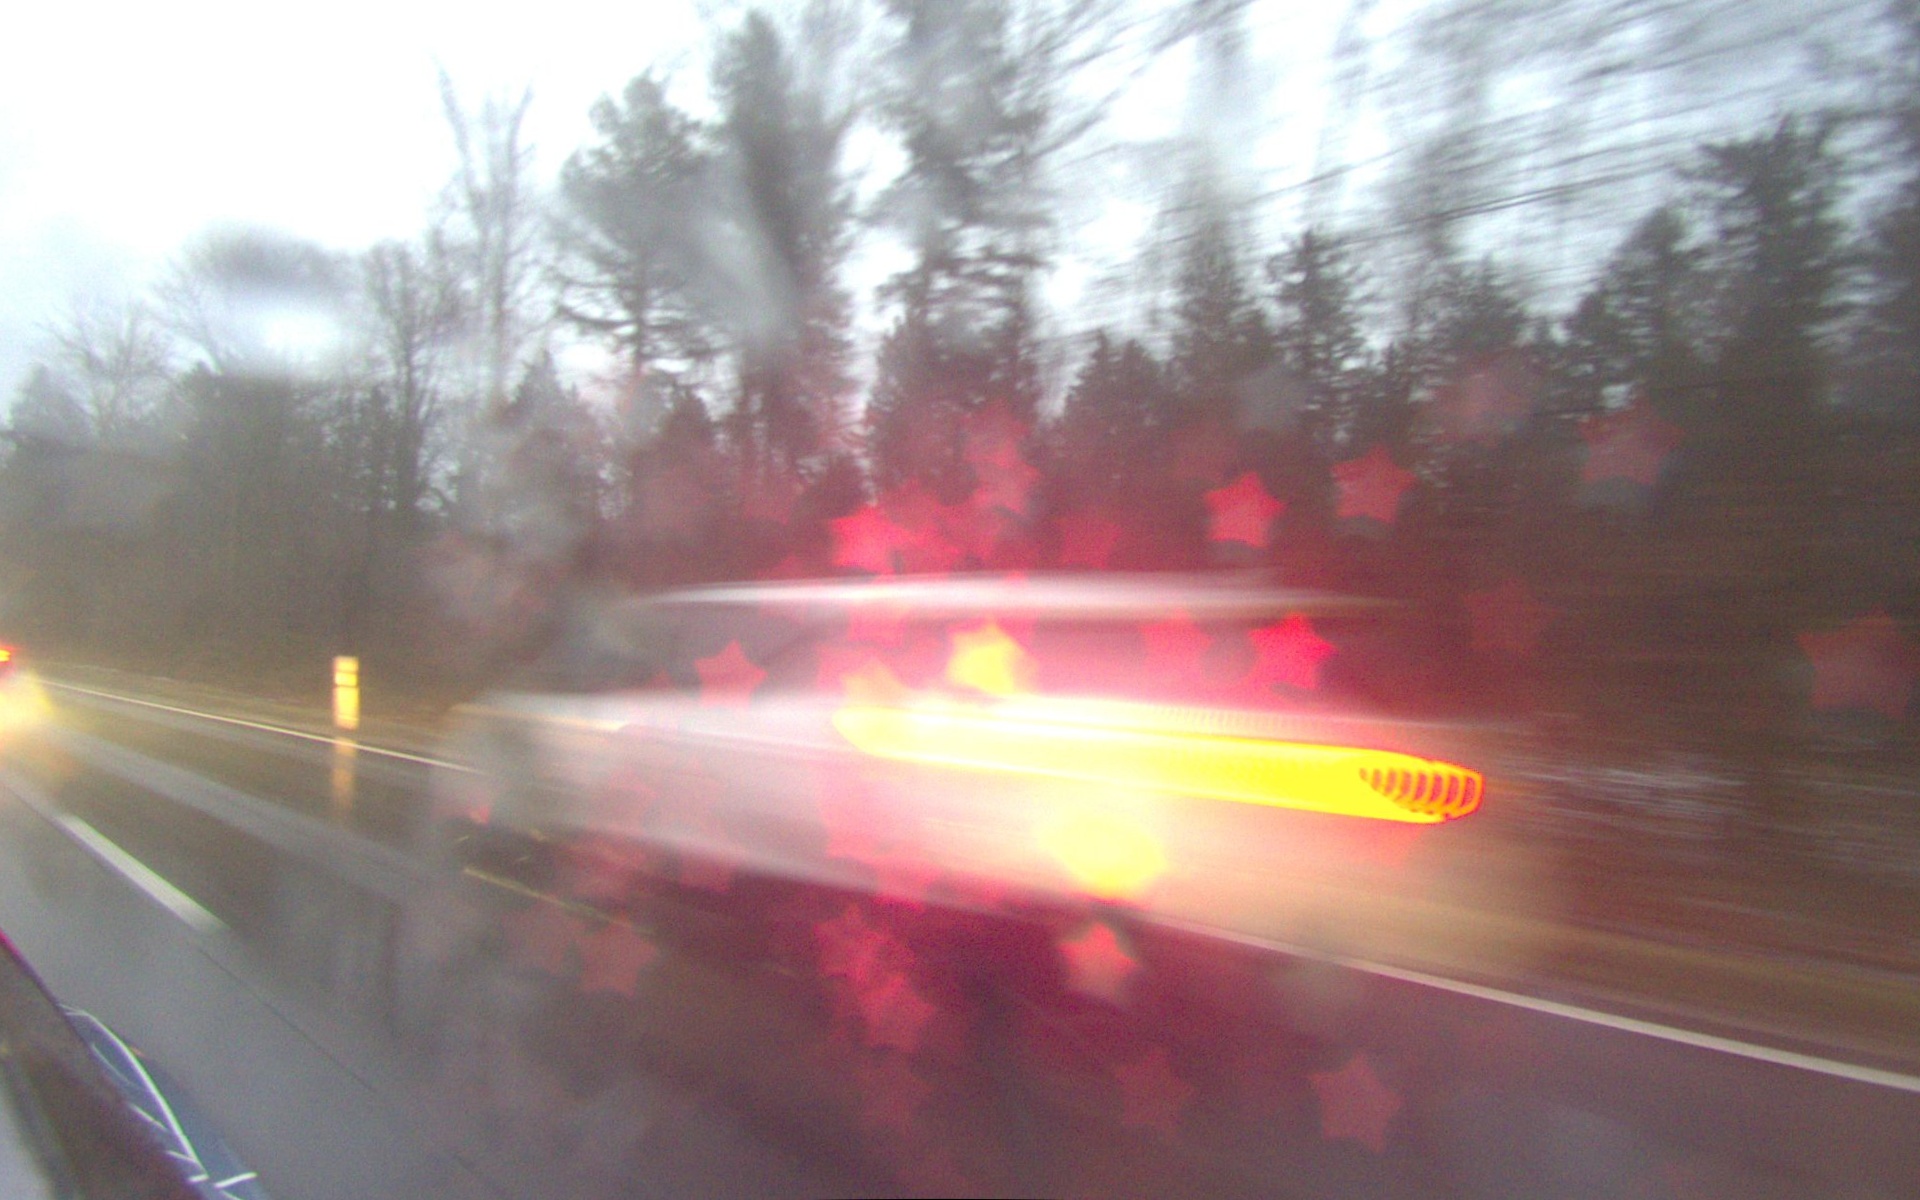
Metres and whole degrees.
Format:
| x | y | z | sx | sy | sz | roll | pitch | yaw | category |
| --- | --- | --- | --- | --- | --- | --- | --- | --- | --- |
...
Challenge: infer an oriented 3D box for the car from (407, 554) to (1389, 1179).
| x | y | z | sx | sy | sz | roll | pitch | yaw | category |
| --- | --- | --- | --- | --- | --- | --- | --- | --- | --- |
| -0.769 | 0.734 | 5.027 | 5.014 | 1.620 | 1.897 | -1 | -2 | 42 | car |

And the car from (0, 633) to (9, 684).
| x | y | z | sx | sy | sz | roll | pitch | yaw | category |
| --- | --- | --- | --- | --- | --- | --- | --- | --- | --- |
| -29.103 | 1.704 | 29.472 | 3.998 | 1.431 | 1.673 | -2 | -3 | 41 | car |
